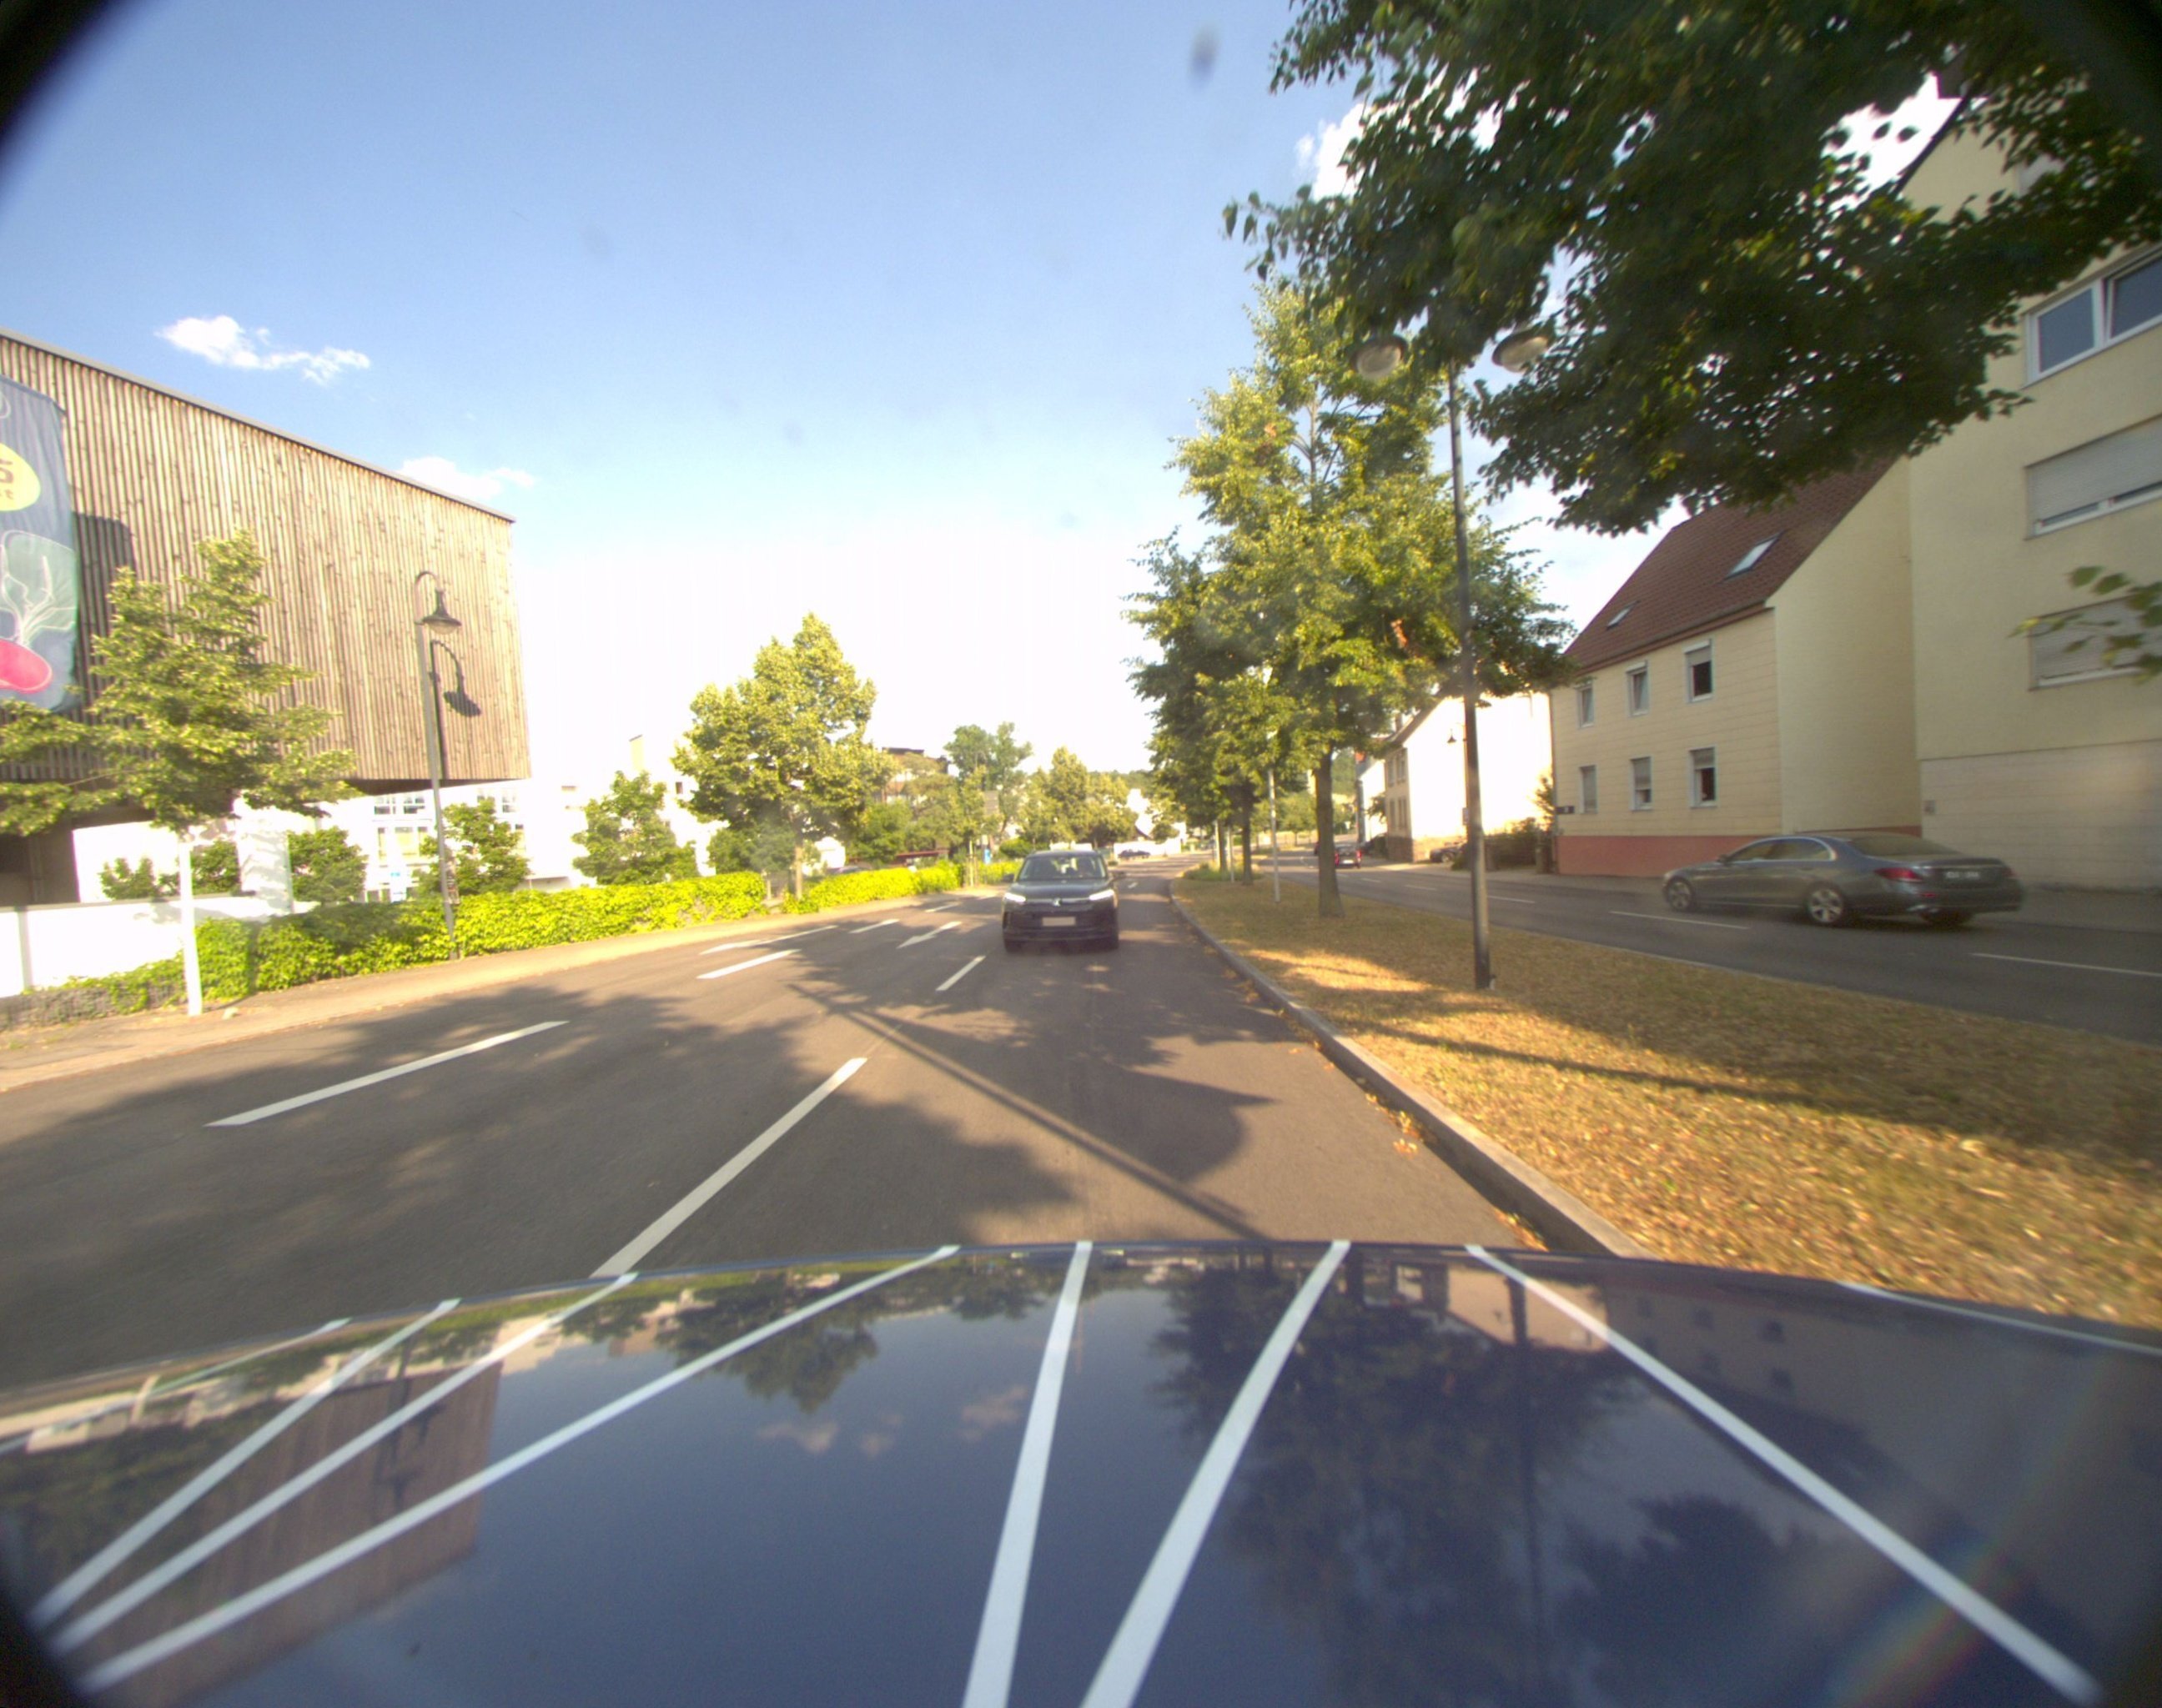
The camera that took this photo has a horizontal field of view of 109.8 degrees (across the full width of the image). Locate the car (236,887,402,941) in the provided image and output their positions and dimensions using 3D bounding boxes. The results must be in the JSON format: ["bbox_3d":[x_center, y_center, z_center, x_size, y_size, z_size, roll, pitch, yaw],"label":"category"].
[{"bbox_3d":[-29.439,2.283,29.542,1.996,1.618,4.004,-3,1,18],"label":"car"}]

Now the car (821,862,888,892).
[{"bbox_3d":[-14.701,1.476,49.578,1.997,1.523,4.552,-5,0,14],"label":"car"}]

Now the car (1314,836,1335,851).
[{"bbox_3d":[25.446,-1.078,79.504,1.942,1.477,4.329,-2,1,15],"label":"car"}]

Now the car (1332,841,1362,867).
[{"bbox_3d":[16.514,-0.011,47.268,1.608,1.477,3.788,-2,1,17],"label":"car"}]

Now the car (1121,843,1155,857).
[{"bbox_3d":[7.236,-0.517,96.662,3.830,1.412,1.940,-3,1,20],"label":"car"}]

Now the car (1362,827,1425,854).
[{"bbox_3d":[26.977,-1.188,65.842,4.830,1.866,2.002,-5,0,19],"label":"car"}]

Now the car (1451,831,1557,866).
[{"bbox_3d":[20.832,-0.284,37.639,4.350,1.477,1.949,-3,0,24],"label":"car"}]

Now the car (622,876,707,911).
[{"bbox_3d":[-25.797,2.433,47.214,1.891,1.713,4.321,-6,-1,20],"label":"car"}]

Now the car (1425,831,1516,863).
[{"bbox_3d":[21.762,-0.396,42.626,4.351,1.477,2.014,-3,1,23],"label":"car"}]

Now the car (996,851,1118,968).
[{"bbox_3d":[-0.321,0.804,13.219,1.725,1.605,4.260,-2,1,1],"label":"car"}]

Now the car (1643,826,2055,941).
[{"bbox_3d":[12.088,0.366,12.627,1.857,1.477,4.995,-2,1,1],"label":"car"}]
